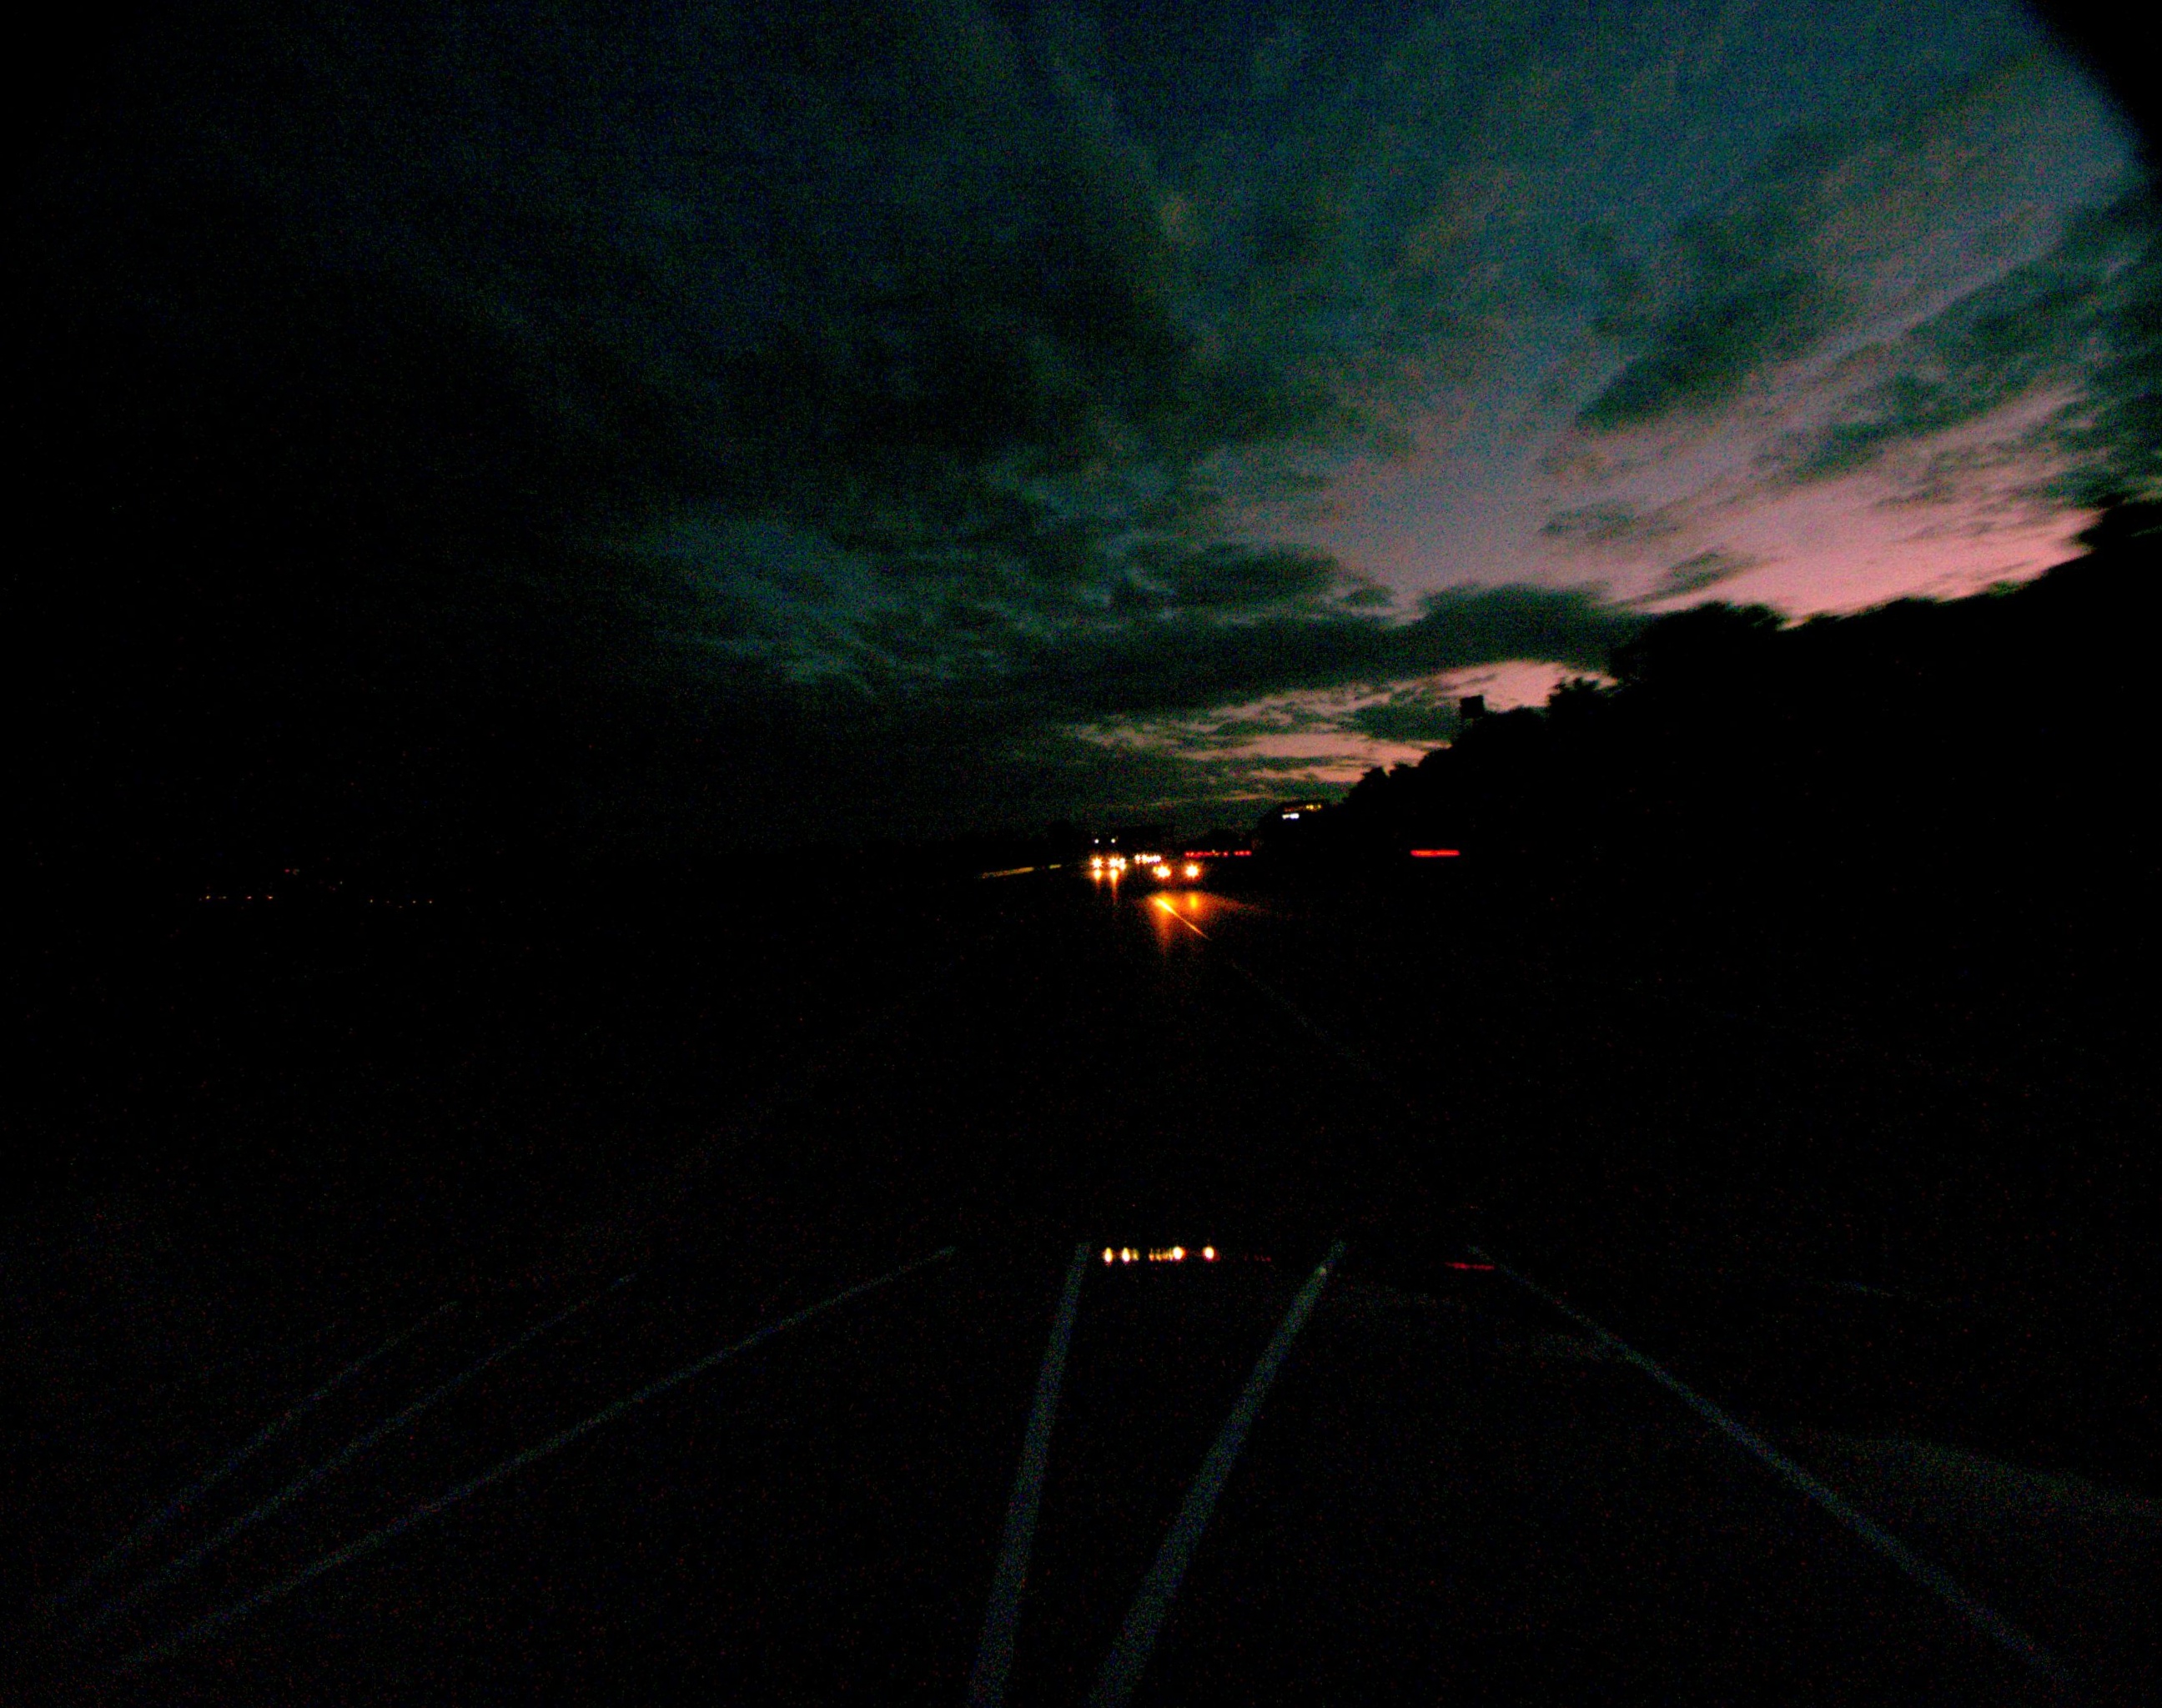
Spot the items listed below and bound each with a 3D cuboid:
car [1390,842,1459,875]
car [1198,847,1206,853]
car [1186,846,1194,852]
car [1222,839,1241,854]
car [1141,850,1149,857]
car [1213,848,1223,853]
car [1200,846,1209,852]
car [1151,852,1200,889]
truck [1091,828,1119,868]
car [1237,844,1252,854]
[{"bbox_3d":[20.415,0.242,45.421,1.998,1.780,4.840,-3,1,1],"label":"car"},{"bbox_3d":[35.421,-1.145,222.631,1.998,1.464,5.024,-2,1,4],"label":"car"},{"bbox_3d":[31.684,-1.535,221.203,1.998,1.725,5.051,-2,1,4],"label":"car"},{"bbox_3d":[26.180,-1.330,132.316,2.331,2.417,7.095,-2,1,3],"label":"car"},{"bbox_3d":[15.090,-0.166,179.600,1.652,1.654,3.776,-2,1,5],"label":"car"},{"bbox_3d":[38.824,-0.966,215.336,1.998,1.393,5.024,-2,1,4],"label":"car"},{"bbox_3d":[33.480,-1.404,205.666,1.998,1.496,4.559,-2,1,4],"label":"car"},{"bbox_3d":[4.190,0.719,34.281,1.717,1.471,4.000,-3,1,1],"label":"car"},{"bbox_3d":[3.047,-0.750,92.422,3.026,4.372,11.617,-2,1,3],"label":"truck"},{"bbox_3d":[31.295,-0.992,145.892,1.998,1.683,4.971,-2,1,3],"label":"car"}]
